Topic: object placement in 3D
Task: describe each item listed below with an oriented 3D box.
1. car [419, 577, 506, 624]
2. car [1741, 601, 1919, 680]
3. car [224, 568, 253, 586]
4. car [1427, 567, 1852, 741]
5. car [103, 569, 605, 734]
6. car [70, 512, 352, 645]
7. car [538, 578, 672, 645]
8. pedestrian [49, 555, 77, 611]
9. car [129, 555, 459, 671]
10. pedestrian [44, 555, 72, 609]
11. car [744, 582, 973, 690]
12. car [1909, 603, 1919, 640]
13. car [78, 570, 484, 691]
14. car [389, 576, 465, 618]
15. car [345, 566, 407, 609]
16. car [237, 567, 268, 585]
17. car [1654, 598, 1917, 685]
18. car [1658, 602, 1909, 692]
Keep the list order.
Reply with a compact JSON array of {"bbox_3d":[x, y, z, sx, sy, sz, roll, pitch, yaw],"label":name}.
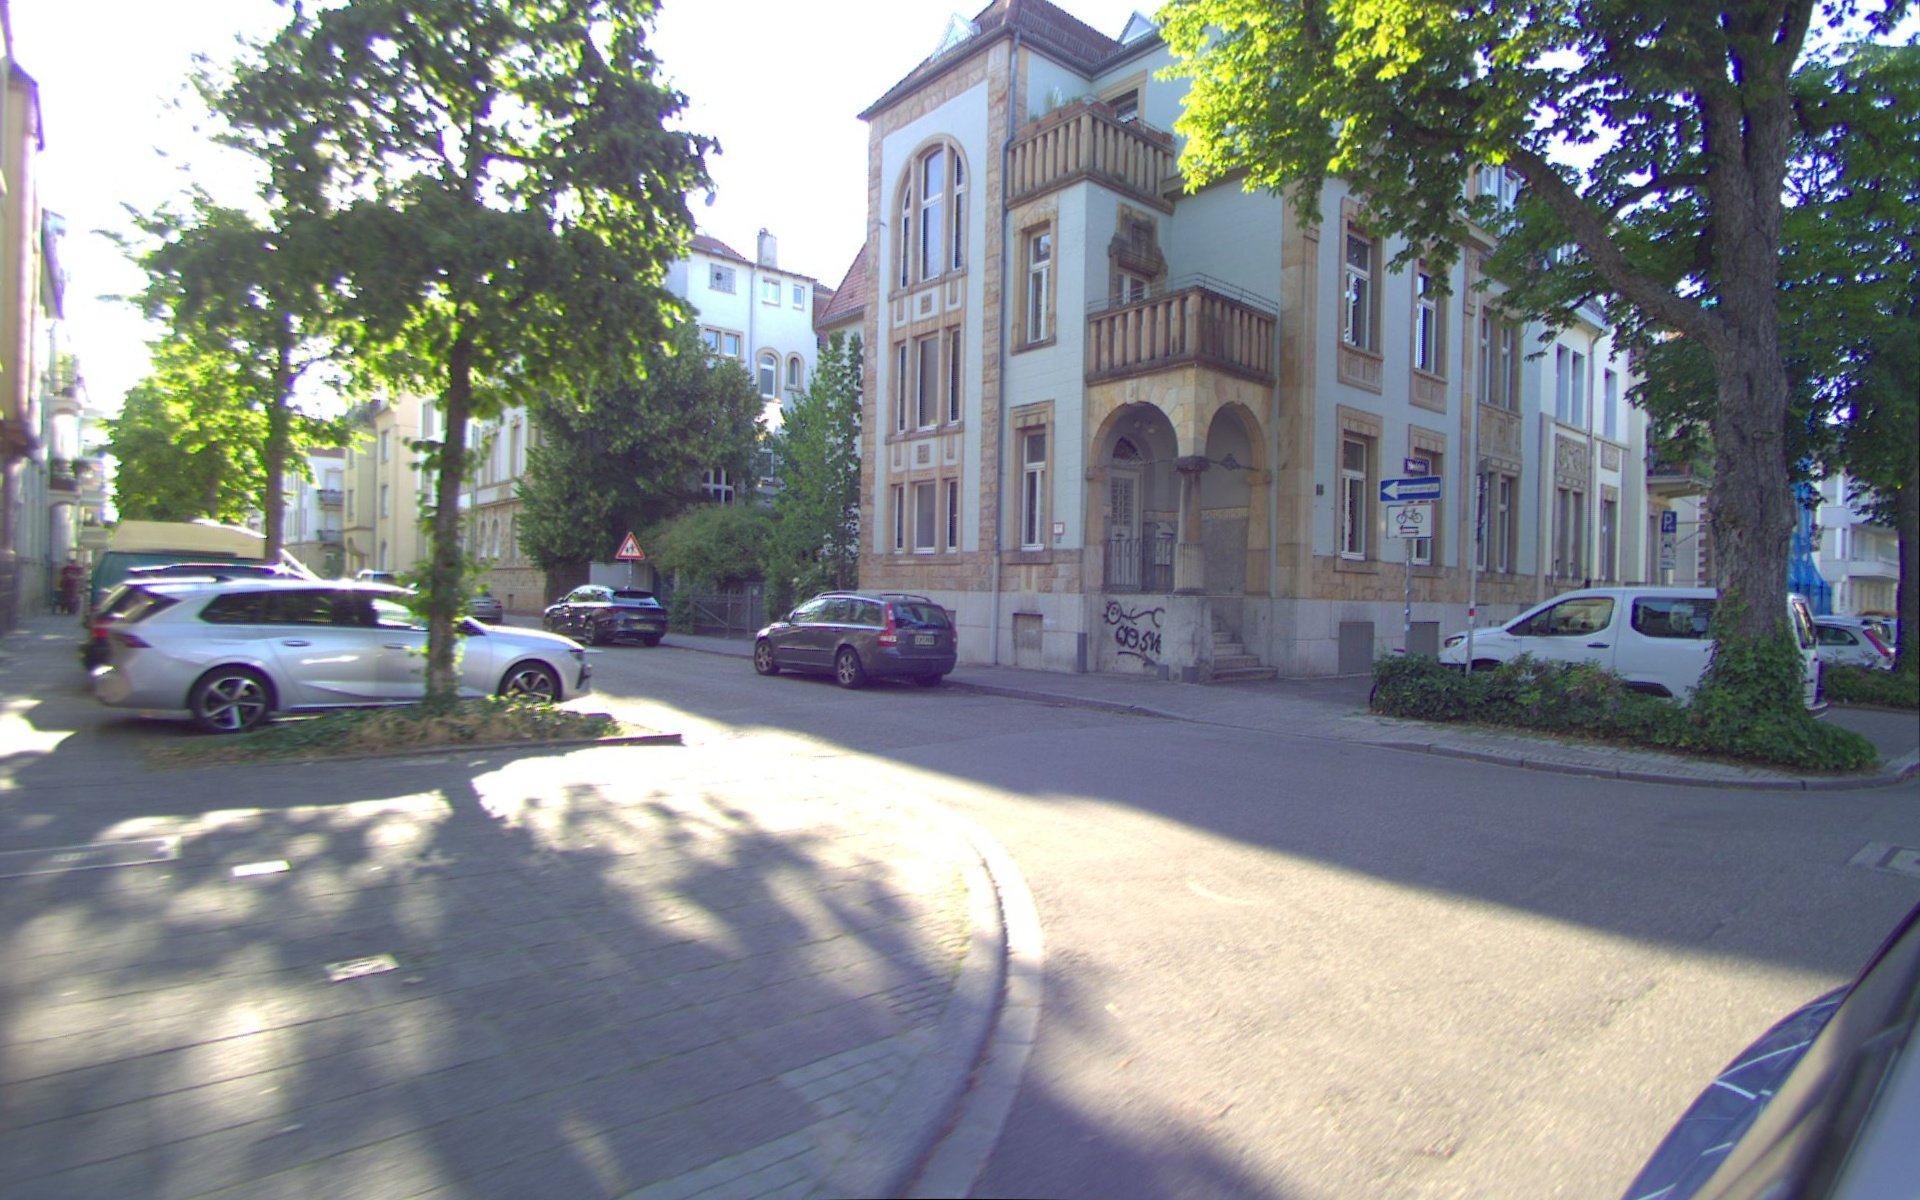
[{"bbox_3d":[-17.592,-0.004,35.676,1.726,1.494,4.164,2,0,-41],"label":"car"},{"bbox_3d":[21.054,0.932,23.609,1.656,1.553,4.156,2,2,-38],"label":"car"},{"bbox_3d":[-65.725,-2.099,92.188,1.726,1.494,4.164,2,0,-41],"label":"car"},{"bbox_3d":[8.907,0.565,13.592,1.965,1.829,4.324,2,2,-40],"label":"car"},{"bbox_3d":[-6.357,0.490,10.943,4.389,1.427,1.787,2,0,-41],"label":"car"},{"bbox_3d":[-15.276,-0.357,20.843,4.440,2.451,1.876,2,0,-40],"label":"car"},{"bbox_3d":[-8.930,0.251,25.287,1.726,1.494,4.164,2,0,-41],"label":"car"},{"bbox_3d":[-28.516,-0.534,32.169,0.596,1.724,0.631,2,-1,-39],"label":"pedestrian"},{"bbox_3d":[-10.549,0.210,16.203,4.209,1.628,1.727,2,0,-41],"label":"car"},{"bbox_3d":[-29.316,-0.569,32.911,0.596,1.724,0.631,2,-1,-39],"label":"pedestrian"},{"bbox_3d":[-1.794,0.525,16.731,1.626,1.495,4.164,4,-1,-41],"label":"car"},{"bbox_3d":[47.479,1.144,47.348,1.676,1.704,4.338,2,1,-43],"label":"car"},{"bbox_3d":[-9.304,0.397,14.132,4.448,1.427,1.847,2,0,-41],"label":"car"},{"bbox_3d":[-20.895,-0.149,39.596,1.726,1.494,4.164,2,0,-41],"label":"car"},{"bbox_3d":[-27.253,-0.615,47.179,1.726,1.862,4.164,3,0,-41],"label":"car"},{"bbox_3d":[-60.549,-2.059,86.578,1.726,1.494,4.164,2,0,-41],"label":"car"},{"bbox_3d":[18.549,0.866,22.901,1.796,1.553,4.324,2,2,-40],"label":"car"},{"bbox_3d":[16.927,0.897,20.932,1.703,1.481,3.756,2,2,-40],"label":"car"}]
